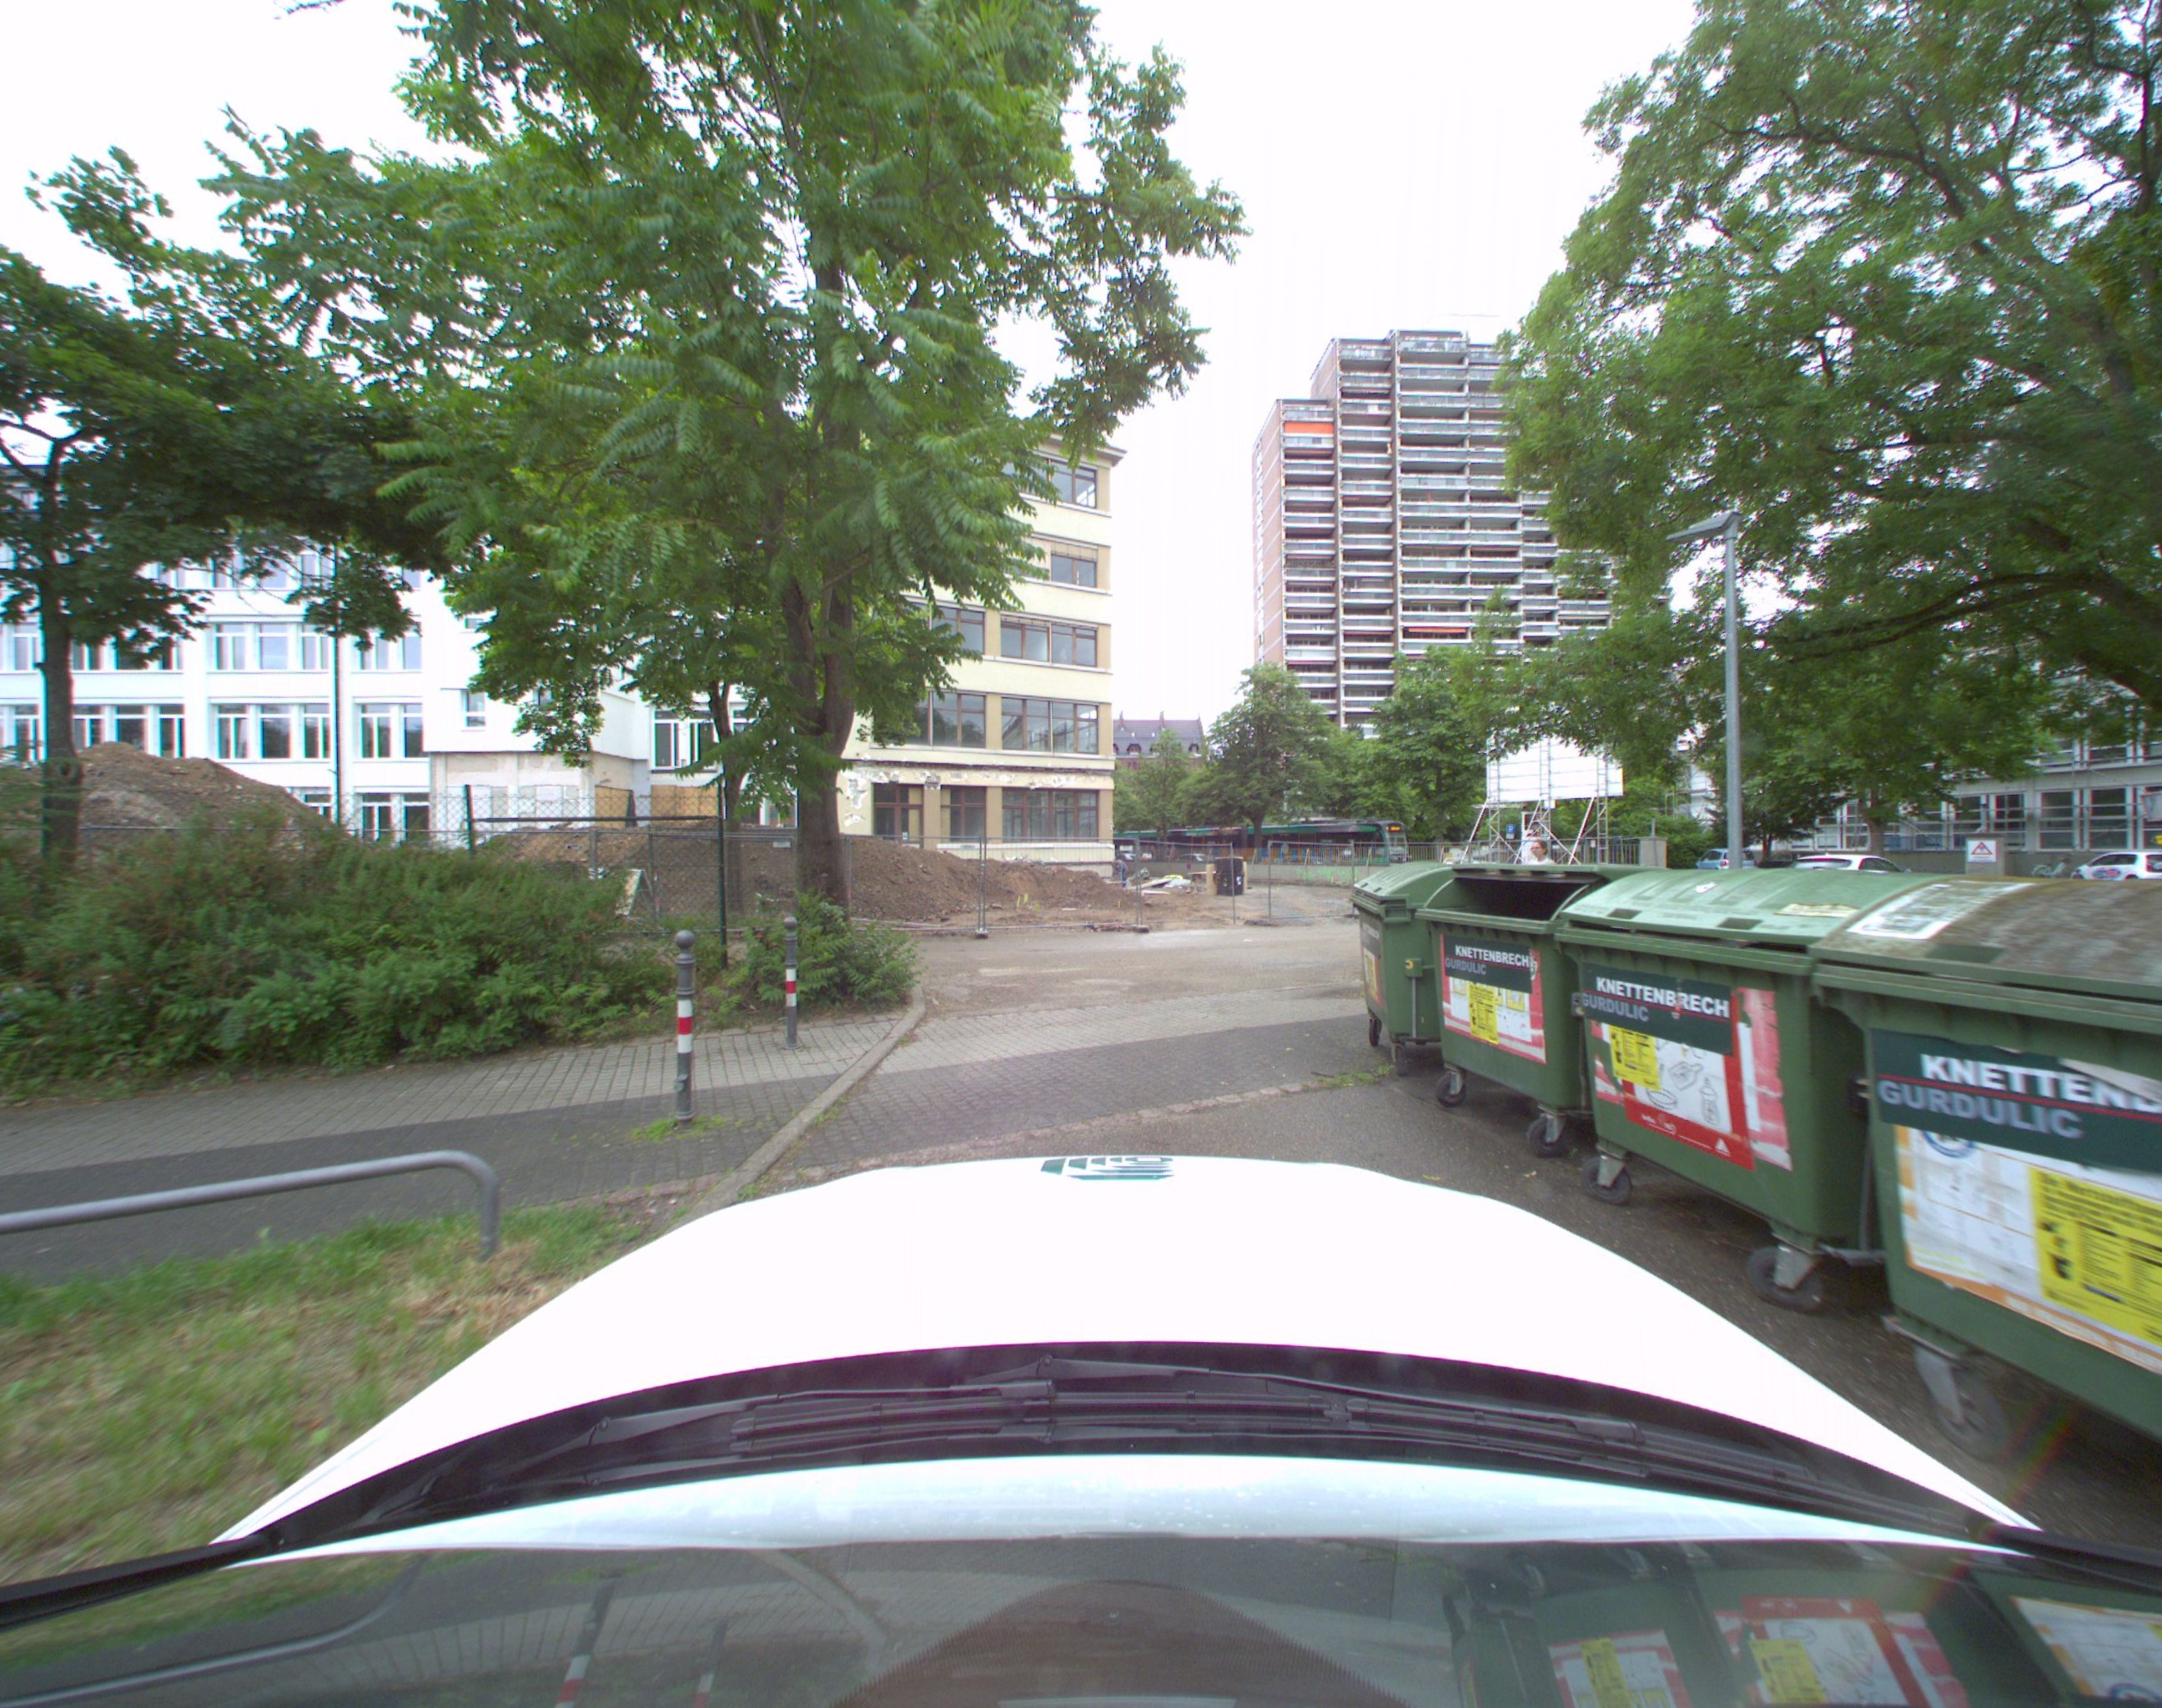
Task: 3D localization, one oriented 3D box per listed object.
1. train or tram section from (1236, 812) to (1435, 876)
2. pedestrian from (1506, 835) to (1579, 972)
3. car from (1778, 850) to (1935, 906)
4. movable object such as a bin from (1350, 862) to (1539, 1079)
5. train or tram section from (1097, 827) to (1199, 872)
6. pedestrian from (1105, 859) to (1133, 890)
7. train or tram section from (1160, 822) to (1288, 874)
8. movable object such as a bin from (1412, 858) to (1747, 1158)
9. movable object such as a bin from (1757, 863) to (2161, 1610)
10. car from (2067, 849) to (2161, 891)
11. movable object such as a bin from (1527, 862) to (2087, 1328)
[{"bbox_3d":[15.725,-0.509,52.670,2.675,3.614,14.636,0,0,-28],"label":"train or tram section"},{"bbox_3d":[6.277,0.639,11.081,0.742,1.781,0.667,-1,0,39],"label":"pedestrian"},{"bbox_3d":[21.564,0.689,22.656,3.983,1.433,1.767,2,-2,-23],"label":"car"},{"bbox_3d":[2.676,0.791,6.181,1.061,1.434,1.280,-1,0,12],"label":"movable object such as a bin"},{"bbox_3d":[5.603,-0.307,71.661,2.675,3.614,12.344,0,0,-28],"label":"train or tram section"},{"bbox_3d":[1.831,0.986,39.245,0.986,1.438,0.921,0,-1,-32],"label":"pedestrian"},{"bbox_3d":[10.558,-0.392,62.392,2.675,3.614,12.344,0,0,-28],"label":"train or tram section"},{"bbox_3d":[2.756,0.759,4.695,1.104,1.450,1.283,0,0,-6],"label":"movable object such as a bin"},{"bbox_3d":[2.654,0.759,1.857,1.104,1.450,1.324,0,0,-6],"label":"movable object such as a bin"},{"bbox_3d":[39.131,0.579,30.328,1.538,1.473,3.425,-1,-1,20],"label":"car"},{"bbox_3d":[2.731,0.770,3.288,1.104,1.450,1.292,0,0,-6],"label":"movable object such as a bin"}]
